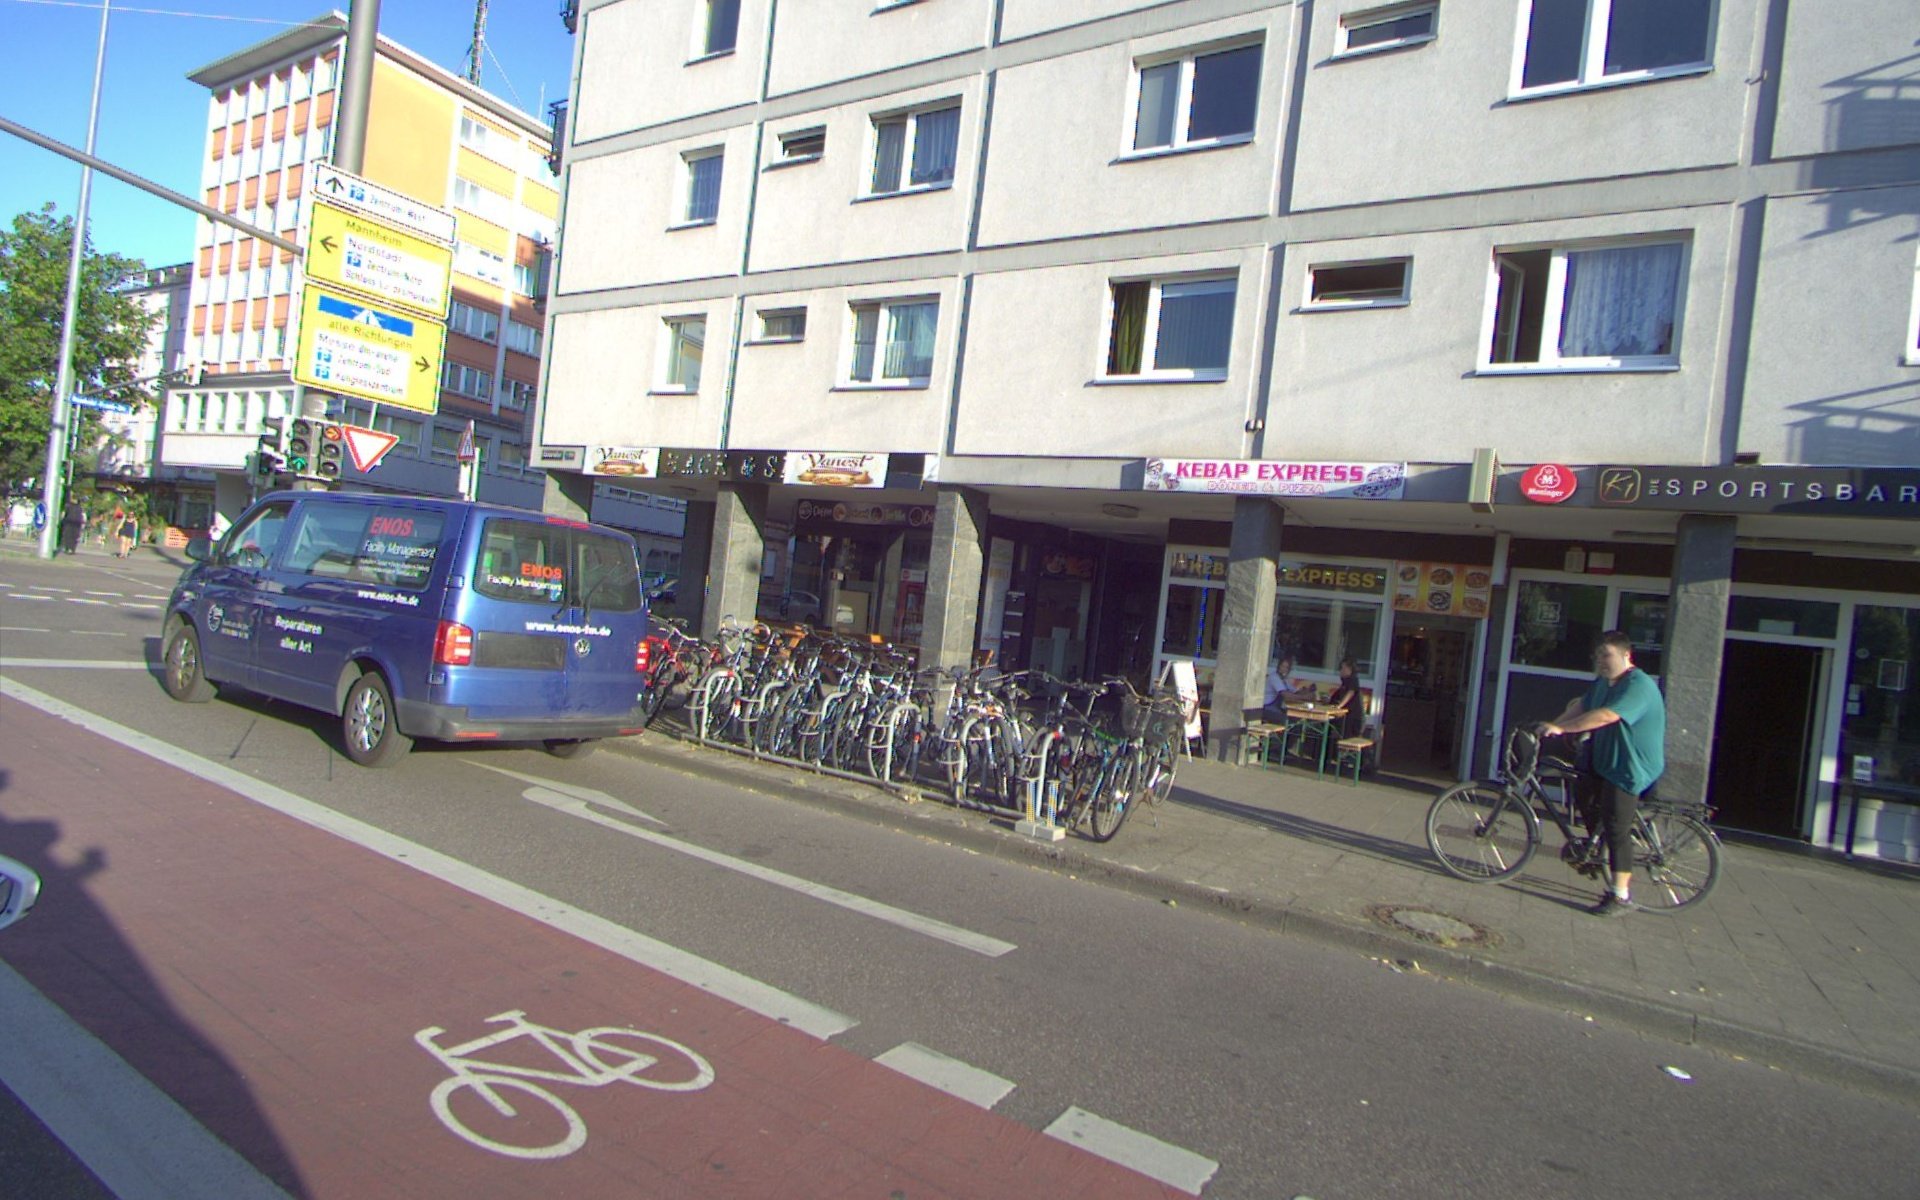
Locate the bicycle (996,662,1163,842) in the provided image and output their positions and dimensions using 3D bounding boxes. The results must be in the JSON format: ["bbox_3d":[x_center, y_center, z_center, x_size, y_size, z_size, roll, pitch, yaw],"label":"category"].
[{"bbox_3d":[0.996,1.110,7.904,0.558,1.140,1.869,7,2,28],"label":"bicycle"}]

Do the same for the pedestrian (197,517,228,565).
[{"bbox_3d":[-28.868,-2.272,38.858,0.799,1.722,0.569,7,1,33],"label":"pedestrian"}]

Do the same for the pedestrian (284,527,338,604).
[{"bbox_3d":[-15.184,-0.815,23.556,0.734,1.682,0.682,7,1,33],"label":"pedestrian"}]

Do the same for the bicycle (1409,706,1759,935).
[{"bbox_3d":[4.178,1.461,6.874,1.838,1.193,0.568,6,2,11],"label":"bicycle"}]

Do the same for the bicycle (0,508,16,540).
[{"bbox_3d":[-38.117,-3.041,39.815,1.844,1.141,0.645,8,1,34],"label":"bicycle"}]

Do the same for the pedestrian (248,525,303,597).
[{"bbox_3d":[-15.588,-0.892,22.907,0.734,1.518,0.682,7,0,33],"label":"pedestrian"}]

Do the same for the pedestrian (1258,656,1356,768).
[{"bbox_3d":[4.431,1.426,12.873,0.848,1.289,0.644,7,0,-21],"label":"pedestrian"}]

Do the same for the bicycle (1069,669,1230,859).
[{"bbox_3d":[1.490,1.159,7.633,0.558,1.140,1.869,7,2,28],"label":"bicycle"}]

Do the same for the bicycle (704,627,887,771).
[{"bbox_3d":[-1.455,0.849,9.272,0.558,1.140,1.869,7,2,28],"label":"bicycle"}]

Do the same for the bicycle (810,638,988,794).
[{"bbox_3d":[-0.469,0.931,8.733,0.558,1.140,1.869,7,2,28],"label":"bicycle"}]

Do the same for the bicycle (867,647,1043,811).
[{"bbox_3d":[0.014,1.007,8.449,0.558,1.140,1.869,7,2,28],"label":"bicycle"}]

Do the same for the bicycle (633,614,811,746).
[{"bbox_3d":[-2.316,0.752,10.039,0.558,1.140,1.869,7,2,28],"label":"bicycle"}]

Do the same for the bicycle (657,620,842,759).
[{"bbox_3d":[-1.939,0.796,9.555,0.558,1.140,1.869,7,2,28],"label":"bicycle"}]

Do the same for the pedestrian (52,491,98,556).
[{"bbox_3d":[-25.268,-2.174,28.723,1.055,1.725,0.661,7,1,37],"label":"pedestrian"}]

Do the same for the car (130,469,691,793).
[{"bbox_3d":[-4.772,0.111,8.507,4.752,1.957,1.939,7,0,32],"label":"car"}]

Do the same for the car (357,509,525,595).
[{"bbox_3d":[-19.541,-1.751,38.147,1.894,2.512,5.257,7,-1,32],"label":"car"}]

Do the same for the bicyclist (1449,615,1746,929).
[{"bbox_3d":[4.269,1.104,6.853,1.359,1.829,0.745,7,0,11],"label":"bicyclist"}]

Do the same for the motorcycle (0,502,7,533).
[{"bbox_3d":[-41.750,-3.617,43.295,2.168,1.257,0.666,7,0,39],"label":"motorcycle"}]

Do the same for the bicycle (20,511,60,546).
[{"bbox_3d":[-37.423,-2.908,40.927,2.090,1.172,0.645,8,1,34],"label":"bicycle"}]

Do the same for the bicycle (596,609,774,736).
[{"bbox_3d":[-2.777,0.710,10.369,0.558,1.140,1.869,7,2,28],"label":"bicycle"}]

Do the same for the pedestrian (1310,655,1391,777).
[{"bbox_3d":[4.694,1.391,12.107,0.623,1.374,0.462,7,0,-20],"label":"pedestrian"}]

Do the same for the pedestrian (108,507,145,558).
[{"bbox_3d":[-28.047,-2.267,33.867,0.735,1.609,0.681,7,1,37],"label":"pedestrian"}]

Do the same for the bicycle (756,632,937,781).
[{"bbox_3d":[-0.960,0.885,9.003,0.558,1.140,1.869,7,2,28],"label":"bicycle"}]

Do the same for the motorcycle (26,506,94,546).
[{"bbox_3d":[-39.285,-3.226,43.921,0.749,1.423,2.042,7,-1,39],"label":"motorcycle"}]

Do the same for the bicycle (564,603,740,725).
[{"bbox_3d":[-3.226,0.649,10.737,0.558,1.140,1.869,7,2,28],"label":"bicycle"}]

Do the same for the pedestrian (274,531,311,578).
[{"bbox_3d":[-26.714,-1.830,40.253,1.010,1.722,0.784,7,0,33],"label":"pedestrian"}]

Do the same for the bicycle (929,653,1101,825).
[{"bbox_3d":[0.504,1.052,8.178,0.558,1.140,1.869,7,2,28],"label":"bicycle"}]

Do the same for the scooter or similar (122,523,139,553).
[{"bbox_3d":[-36.935,-2.785,44.797,0.413,1.269,1.170,7,0,-38],"label":"scooter or similar"}]

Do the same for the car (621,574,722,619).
[{"bbox_3d":[-12.589,-0.139,44.120,1.759,1.482,3.991,7,-1,33],"label":"car"}]
